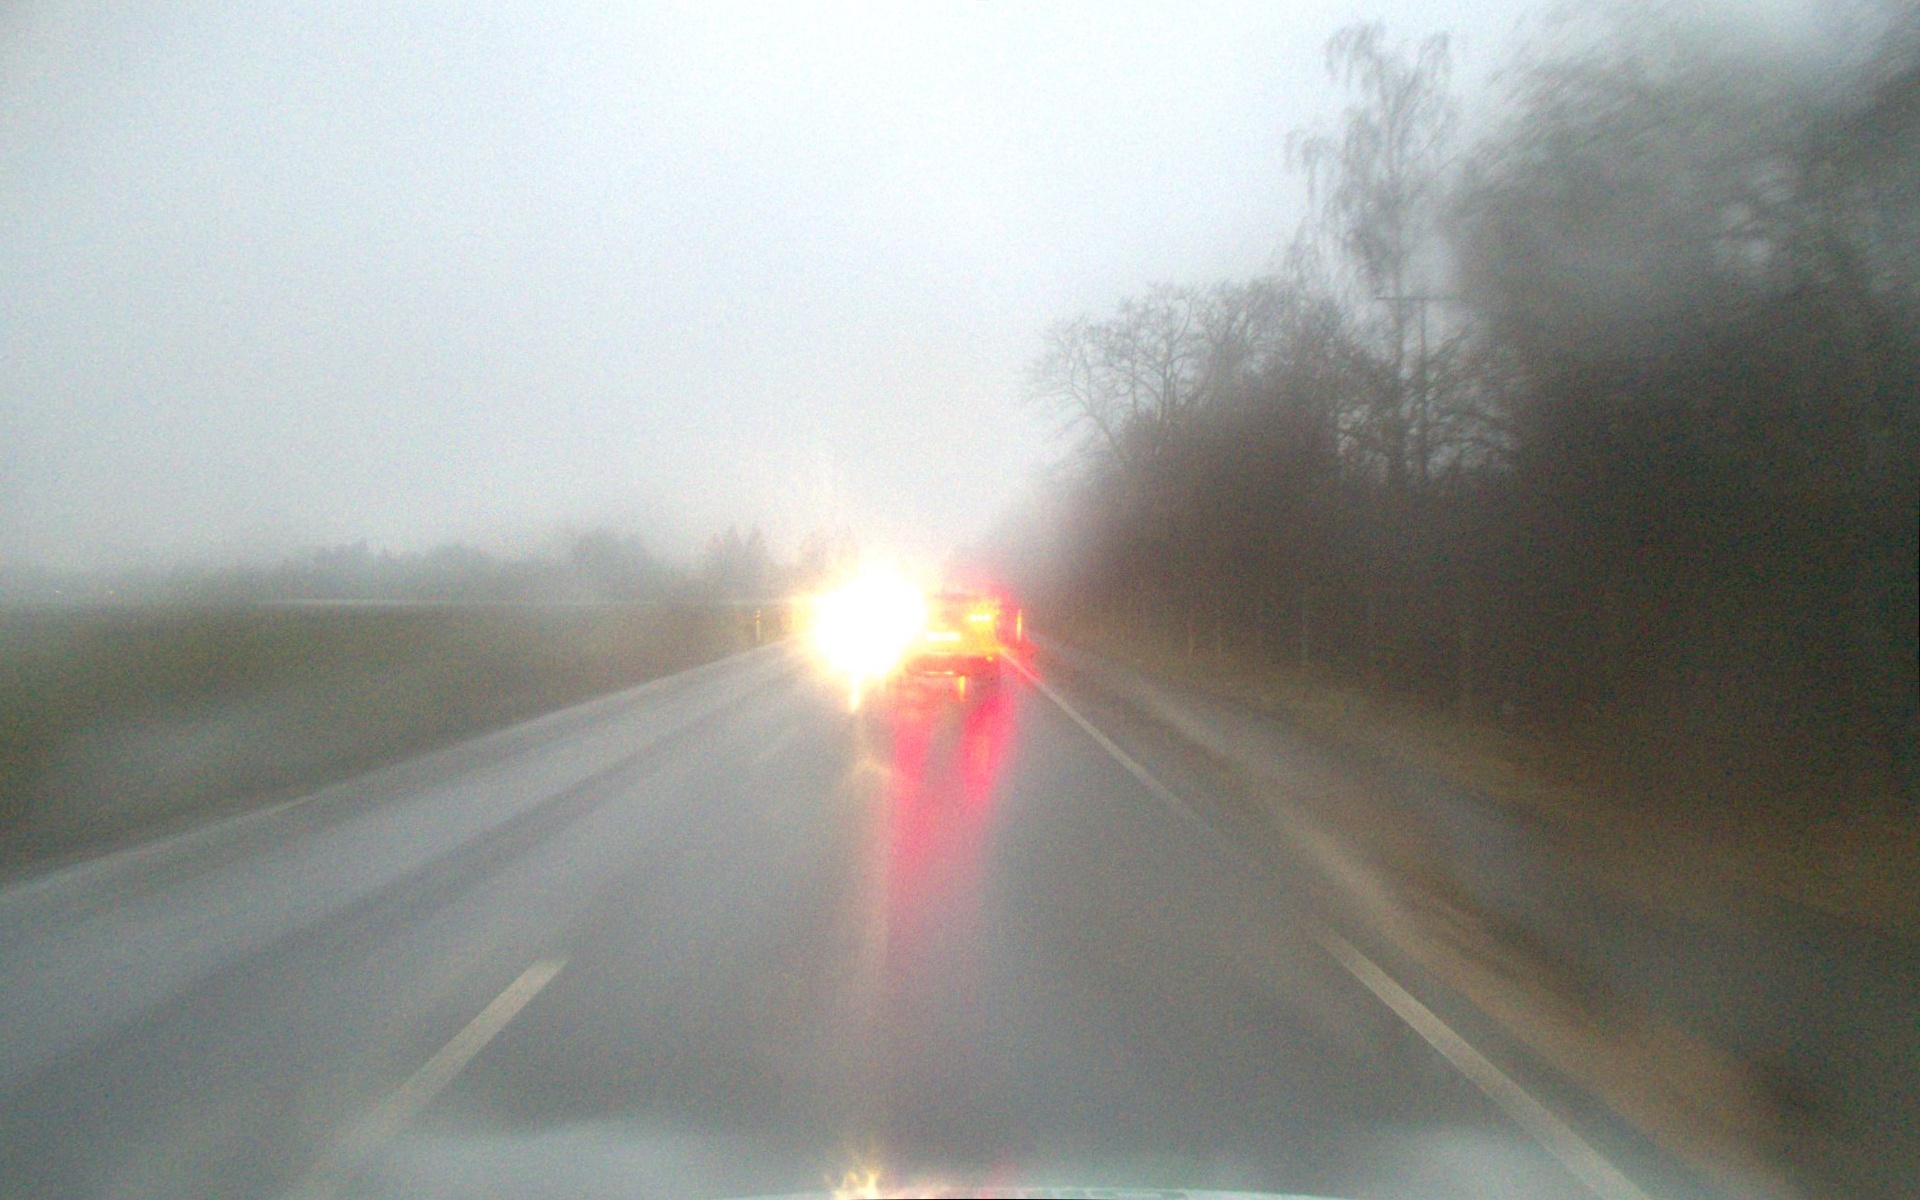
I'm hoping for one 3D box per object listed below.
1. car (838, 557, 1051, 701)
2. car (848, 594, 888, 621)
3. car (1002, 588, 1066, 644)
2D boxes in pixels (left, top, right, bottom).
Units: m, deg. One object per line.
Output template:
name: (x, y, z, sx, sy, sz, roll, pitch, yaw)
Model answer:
car: (-0.272, 0.401, 27.570, 3.100, 2.071, 6.850, -1, 0, -1)
car: (-4.913, 0.422, 89.127, 1.953, 1.396, 4.397, 1, 0, -1)
car: (2.442, 0.524, 55.335, 1.889, 1.780, 3.999, 1, 0, -1)
